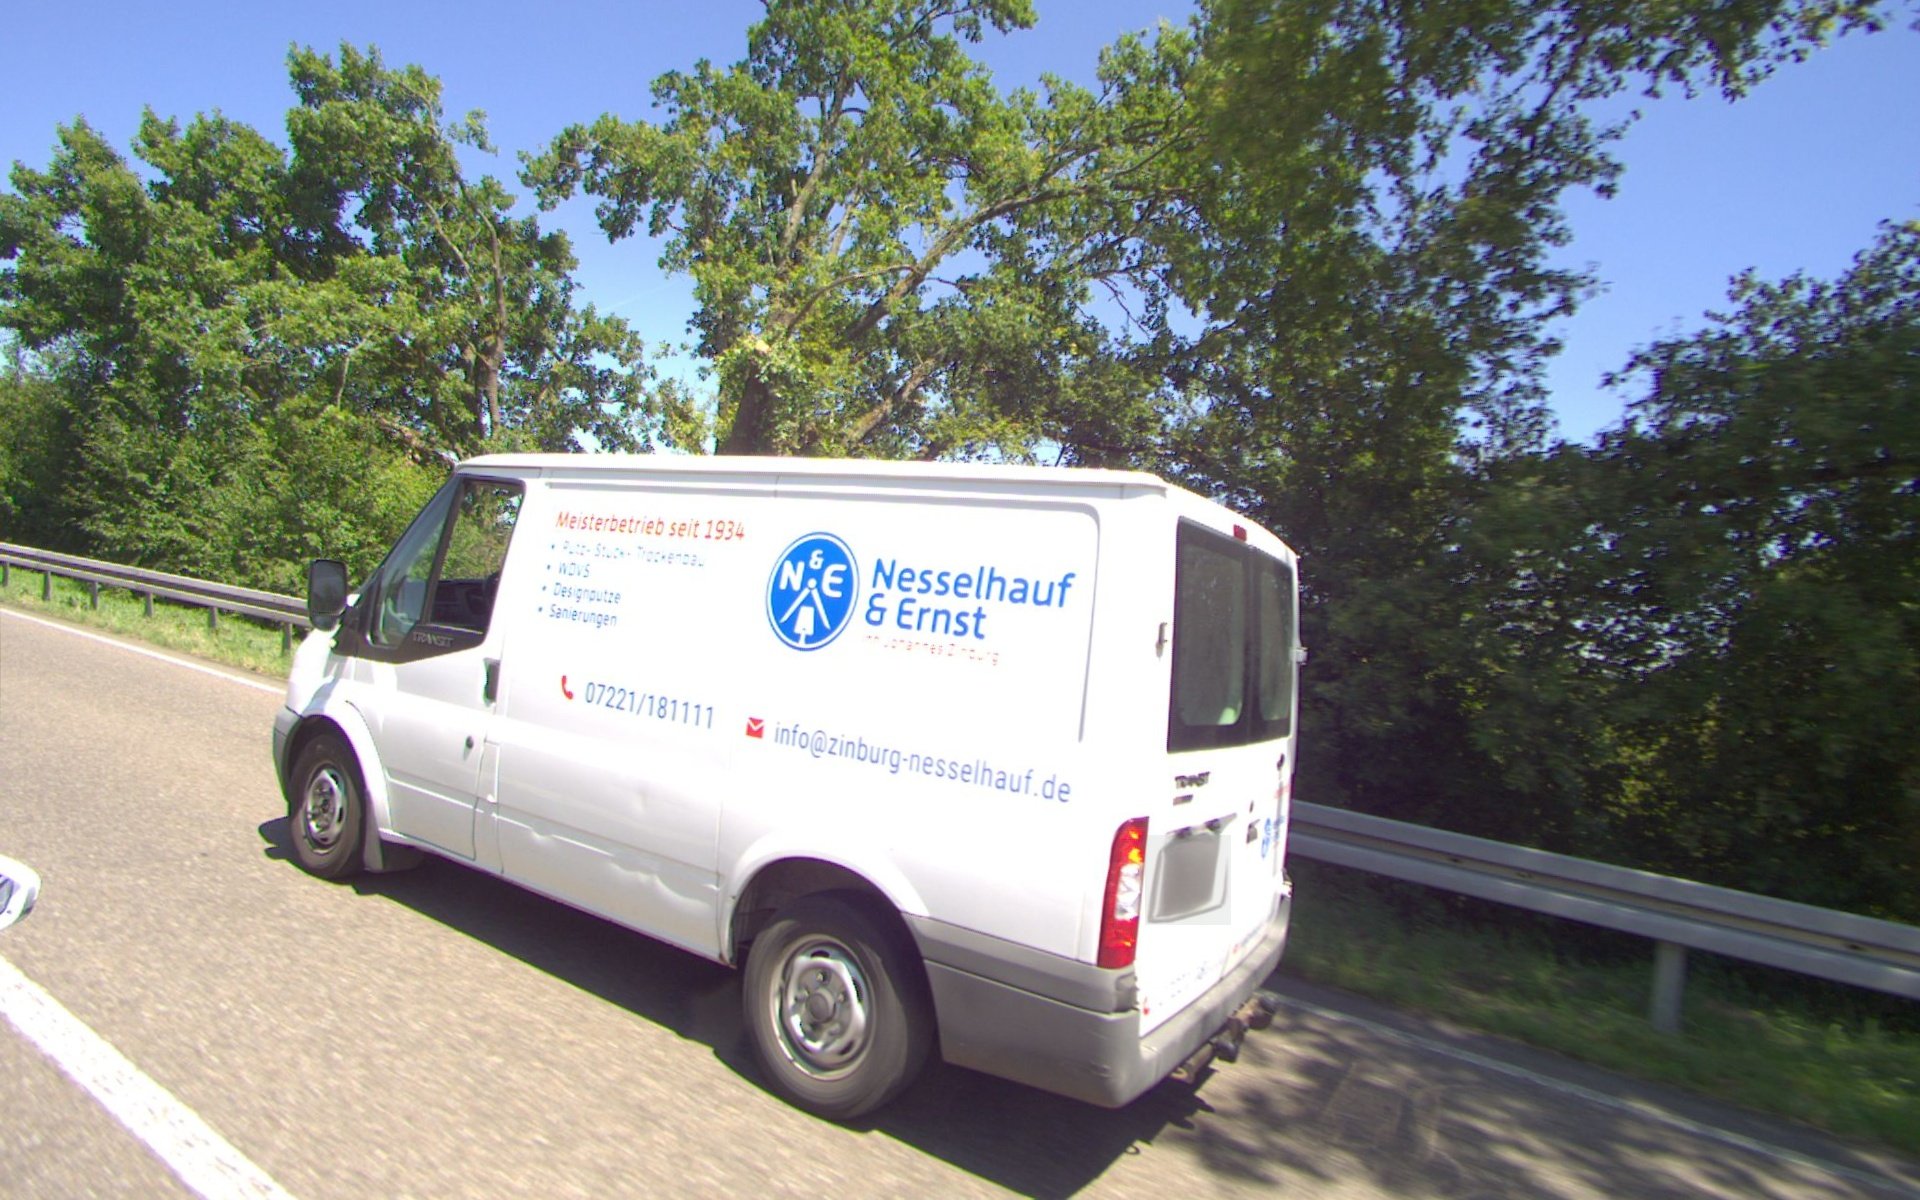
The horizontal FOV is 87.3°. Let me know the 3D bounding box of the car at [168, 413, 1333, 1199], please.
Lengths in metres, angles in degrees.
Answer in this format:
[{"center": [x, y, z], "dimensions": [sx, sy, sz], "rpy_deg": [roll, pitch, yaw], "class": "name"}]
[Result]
[{"center": [-1.187, 0.415, 4.573], "dimensions": [4.950, 2.011, 2.010], "rpy_deg": [7, -2, 31], "class": "car"}]
